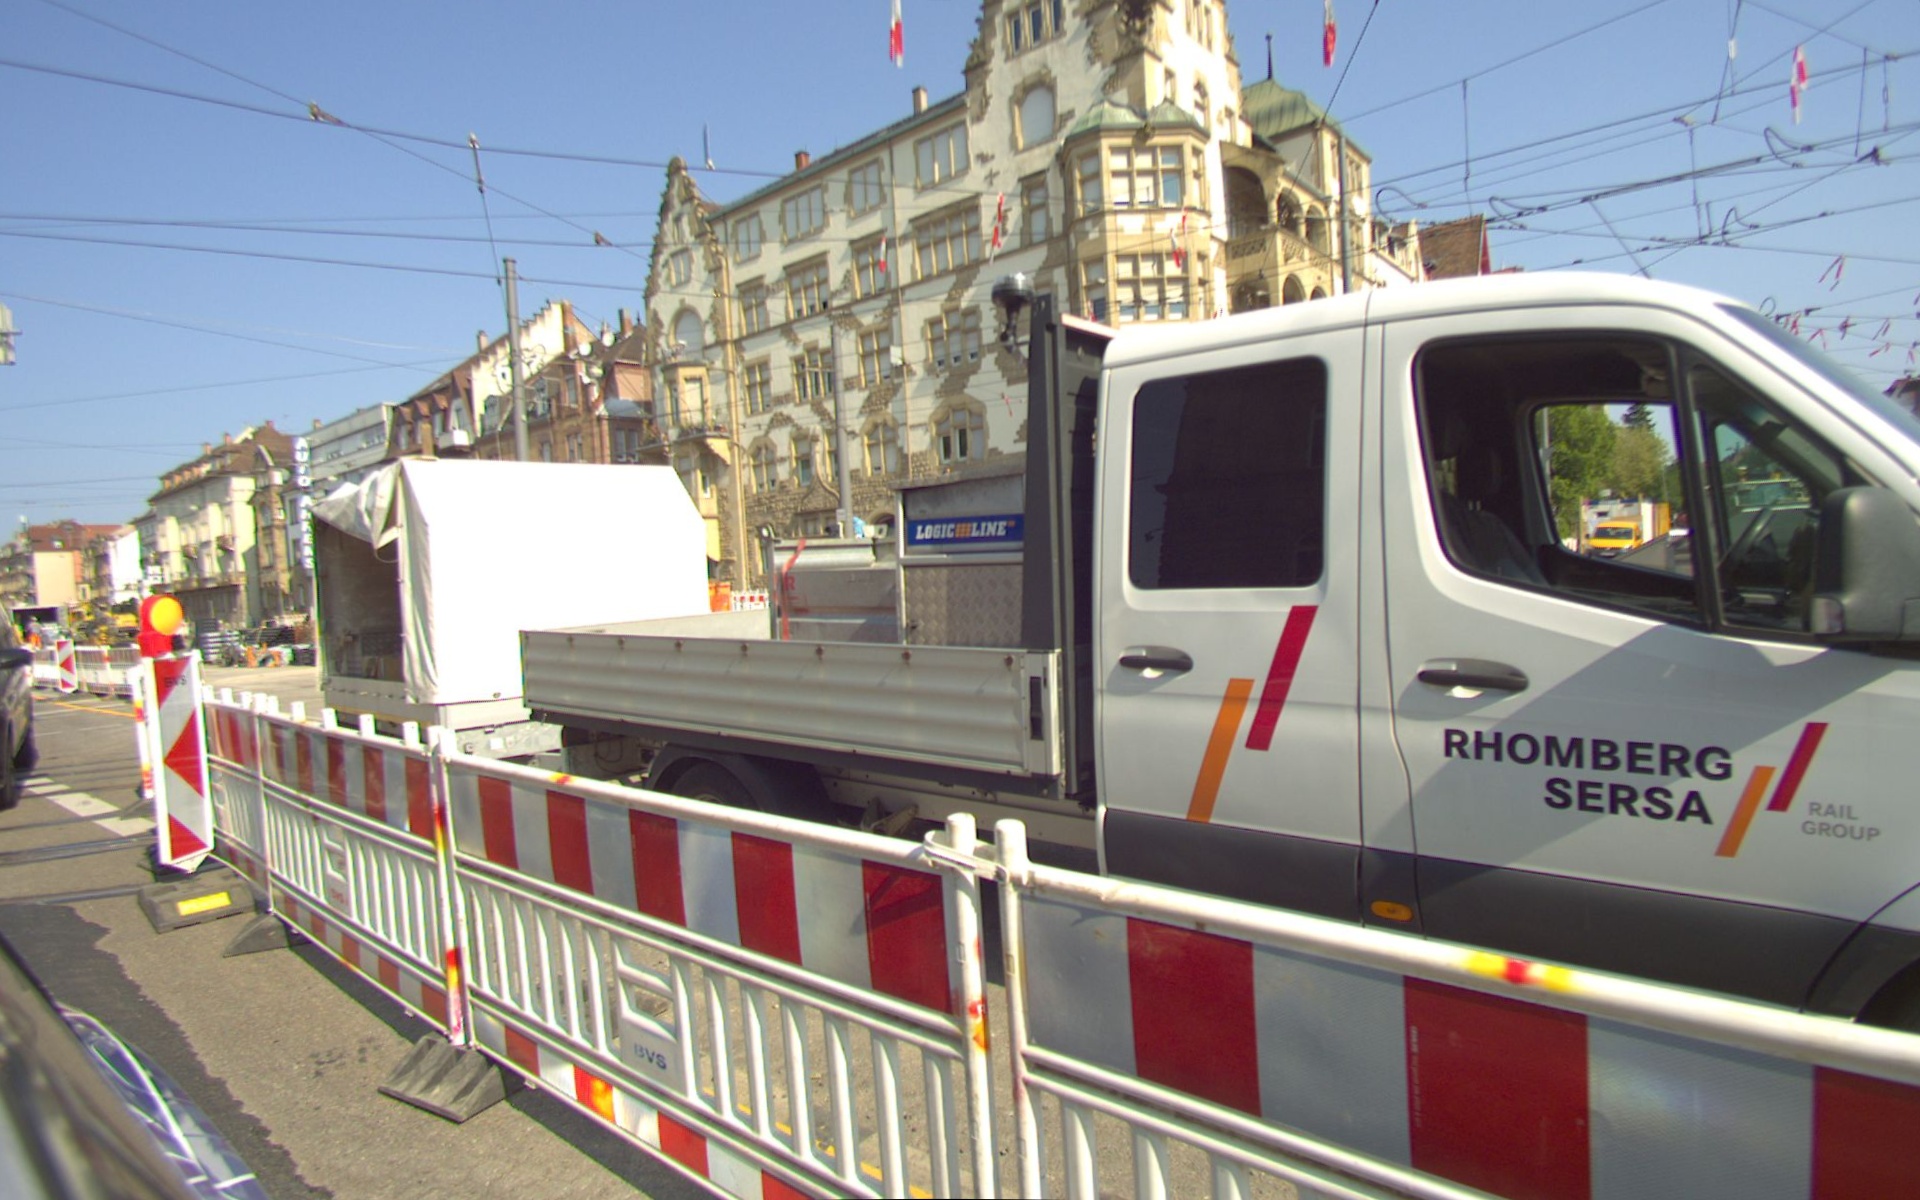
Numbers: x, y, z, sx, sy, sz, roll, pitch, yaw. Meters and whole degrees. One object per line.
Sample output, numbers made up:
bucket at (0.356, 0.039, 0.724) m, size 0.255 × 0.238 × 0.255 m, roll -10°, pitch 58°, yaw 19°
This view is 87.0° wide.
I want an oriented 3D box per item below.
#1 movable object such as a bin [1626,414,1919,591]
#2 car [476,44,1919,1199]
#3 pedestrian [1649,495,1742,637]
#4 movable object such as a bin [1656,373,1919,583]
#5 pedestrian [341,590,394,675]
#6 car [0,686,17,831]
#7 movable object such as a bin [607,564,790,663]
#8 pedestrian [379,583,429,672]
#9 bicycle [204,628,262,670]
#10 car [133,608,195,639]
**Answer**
movable object such as a bin at (15.534, -1.741, 19.385) m, size 2.417 × 2.855 × 4.813 m, roll -3°, pitch 2°, yaw 3°
car at (0.998, 0.163, 3.995) m, size 7.190 × 2.442 × 2.187 m, roll -2°, pitch 2°, yaw 38°
pedestrian at (10.401, -0.480, 14.317) m, size 0.711 × 1.926 × 0.791 m, roll -5°, pitch 2°, yaw -32°
movable object such as a bin at (21.700, -2.851, 25.314) m, size 7.263 × 4.378 × 4.981 m, roll -5°, pitch 3°, yaw -37°
pedestrian at (-14.005, 0.751, 23.941) m, size 0.676 × 1.940 × 0.713 m, roll -3°, pitch 2°, yaw 4°
car at (-8.938, 0.814, 7.835) m, size 4.176 × 1.899 × 1.830 m, roll -2°, pitch 4°, yaw 41°
movable object such as a bin at (-4.789, 0.246, 18.370) m, size 3.285 × 1.570 × 1.583 m, roll -2°, pitch 3°, yaw 42°
pedestrian at (-13.198, 0.647, 24.033) m, size 0.665 × 2.030 × 0.696 m, roll -3°, pitch 2°, yaw 4°
bicycle at (-21.169, 1.425, 29.448) m, size 1.960 × 1.106 × 0.558 m, roll -2°, pitch 4°, yaw 31°
car at (-62.220, 1.819, 79.013) m, size 7.117 × 2.150 × 2.337 m, roll -2°, pitch 3°, yaw 41°
